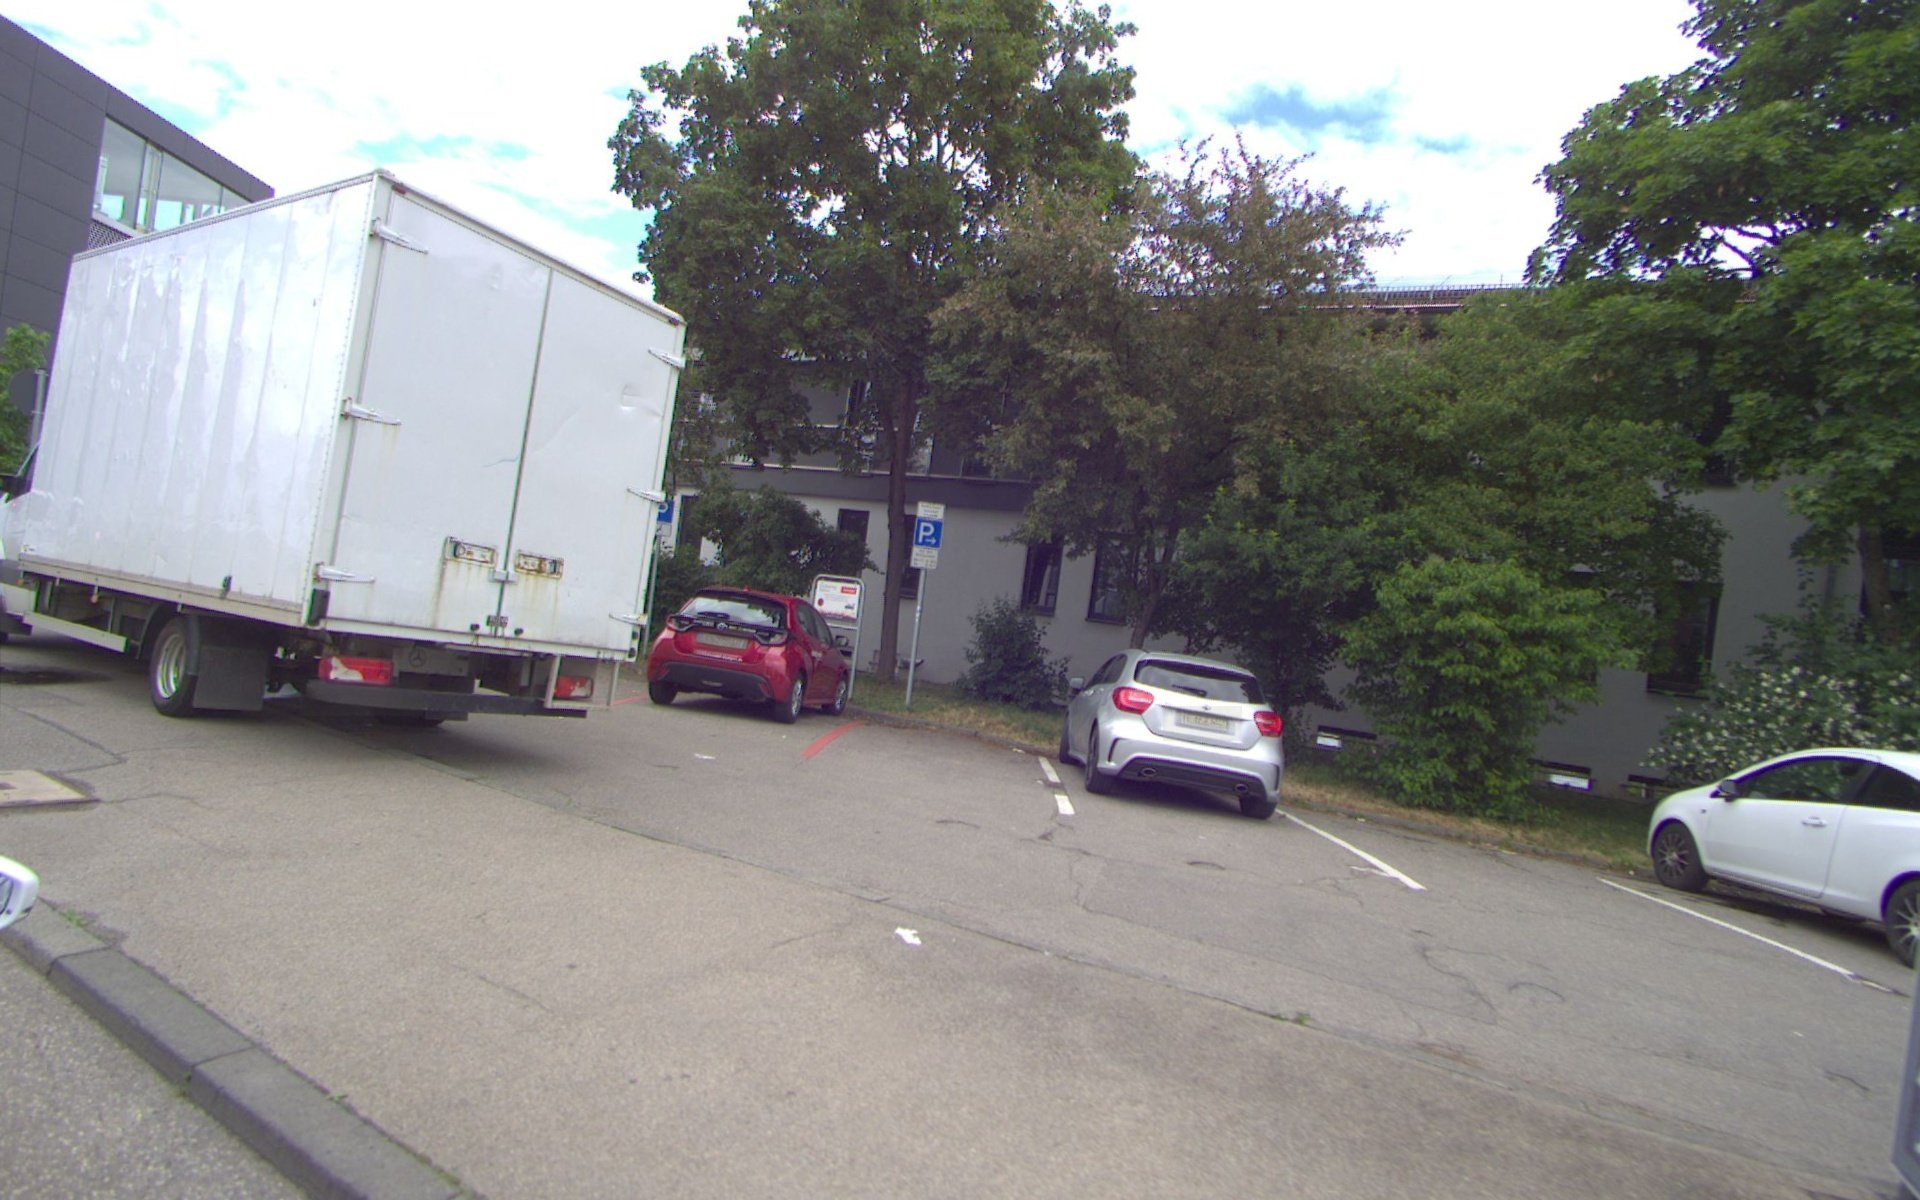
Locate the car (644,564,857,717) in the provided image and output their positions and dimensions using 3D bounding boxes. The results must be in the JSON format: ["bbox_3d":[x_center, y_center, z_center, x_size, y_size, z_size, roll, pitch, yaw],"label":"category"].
[{"bbox_3d":[-2.473,0.541,12.765,1.649,1.471,3.508,7,-3,3],"label":"car"}]

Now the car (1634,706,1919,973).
[{"bbox_3d":[7.207,1.804,7.808,1.561,1.453,3.650,6,0,4],"label":"car"}]

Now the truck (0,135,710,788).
[{"bbox_3d":[-5.995,-1.023,8.625,7.682,3.567,2.576,7,0,33],"label":"truck"}]

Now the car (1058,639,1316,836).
[{"bbox_3d":[2.166,1.317,10.680,1.765,1.489,3.809,7,-3,1],"label":"car"}]
